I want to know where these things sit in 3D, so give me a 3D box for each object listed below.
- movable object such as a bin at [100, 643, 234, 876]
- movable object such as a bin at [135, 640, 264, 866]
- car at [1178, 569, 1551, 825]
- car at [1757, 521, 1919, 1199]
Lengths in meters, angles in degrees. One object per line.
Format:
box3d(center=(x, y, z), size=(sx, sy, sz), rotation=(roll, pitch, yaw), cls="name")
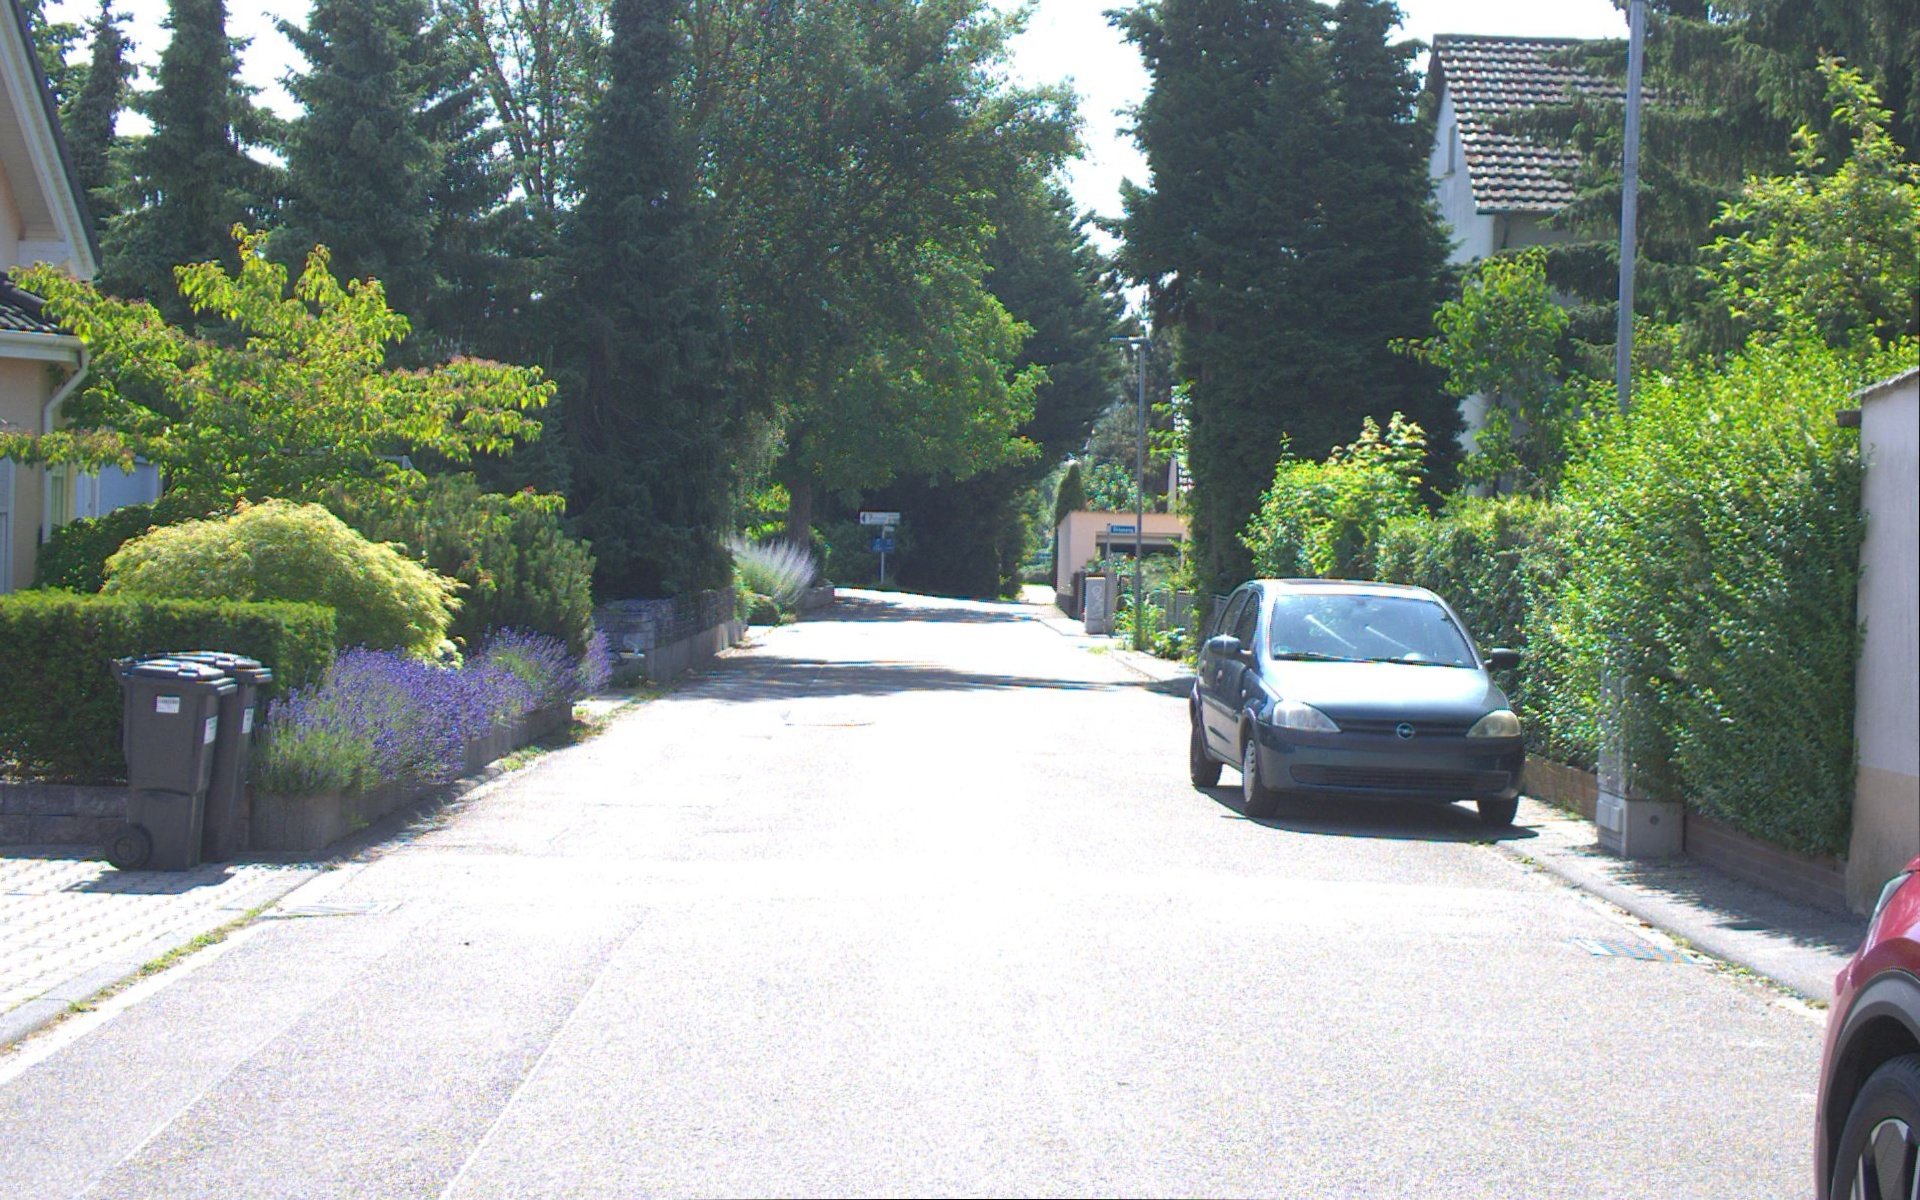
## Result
box3d(center=(-3.585, 0.713, 15.559), size=(0.494, 1.021, 0.447), rotation=(1, 1, -1), cls="movable object such as a bin")
box3d(center=(-3.541, 0.705, 16.022), size=(0.494, 1.021, 0.447), rotation=(1, 1, -1), cls="movable object such as a bin")
box3d(center=(2.450, 0.540, 21.737), size=(1.702, 1.395, 4.000), rotation=(2, 1, -2), cls="car")
box3d(center=(2.541, 0.725, 4.507), size=(1.822, 1.610, 4.001), rotation=(2, 1, -3), cls="car")
